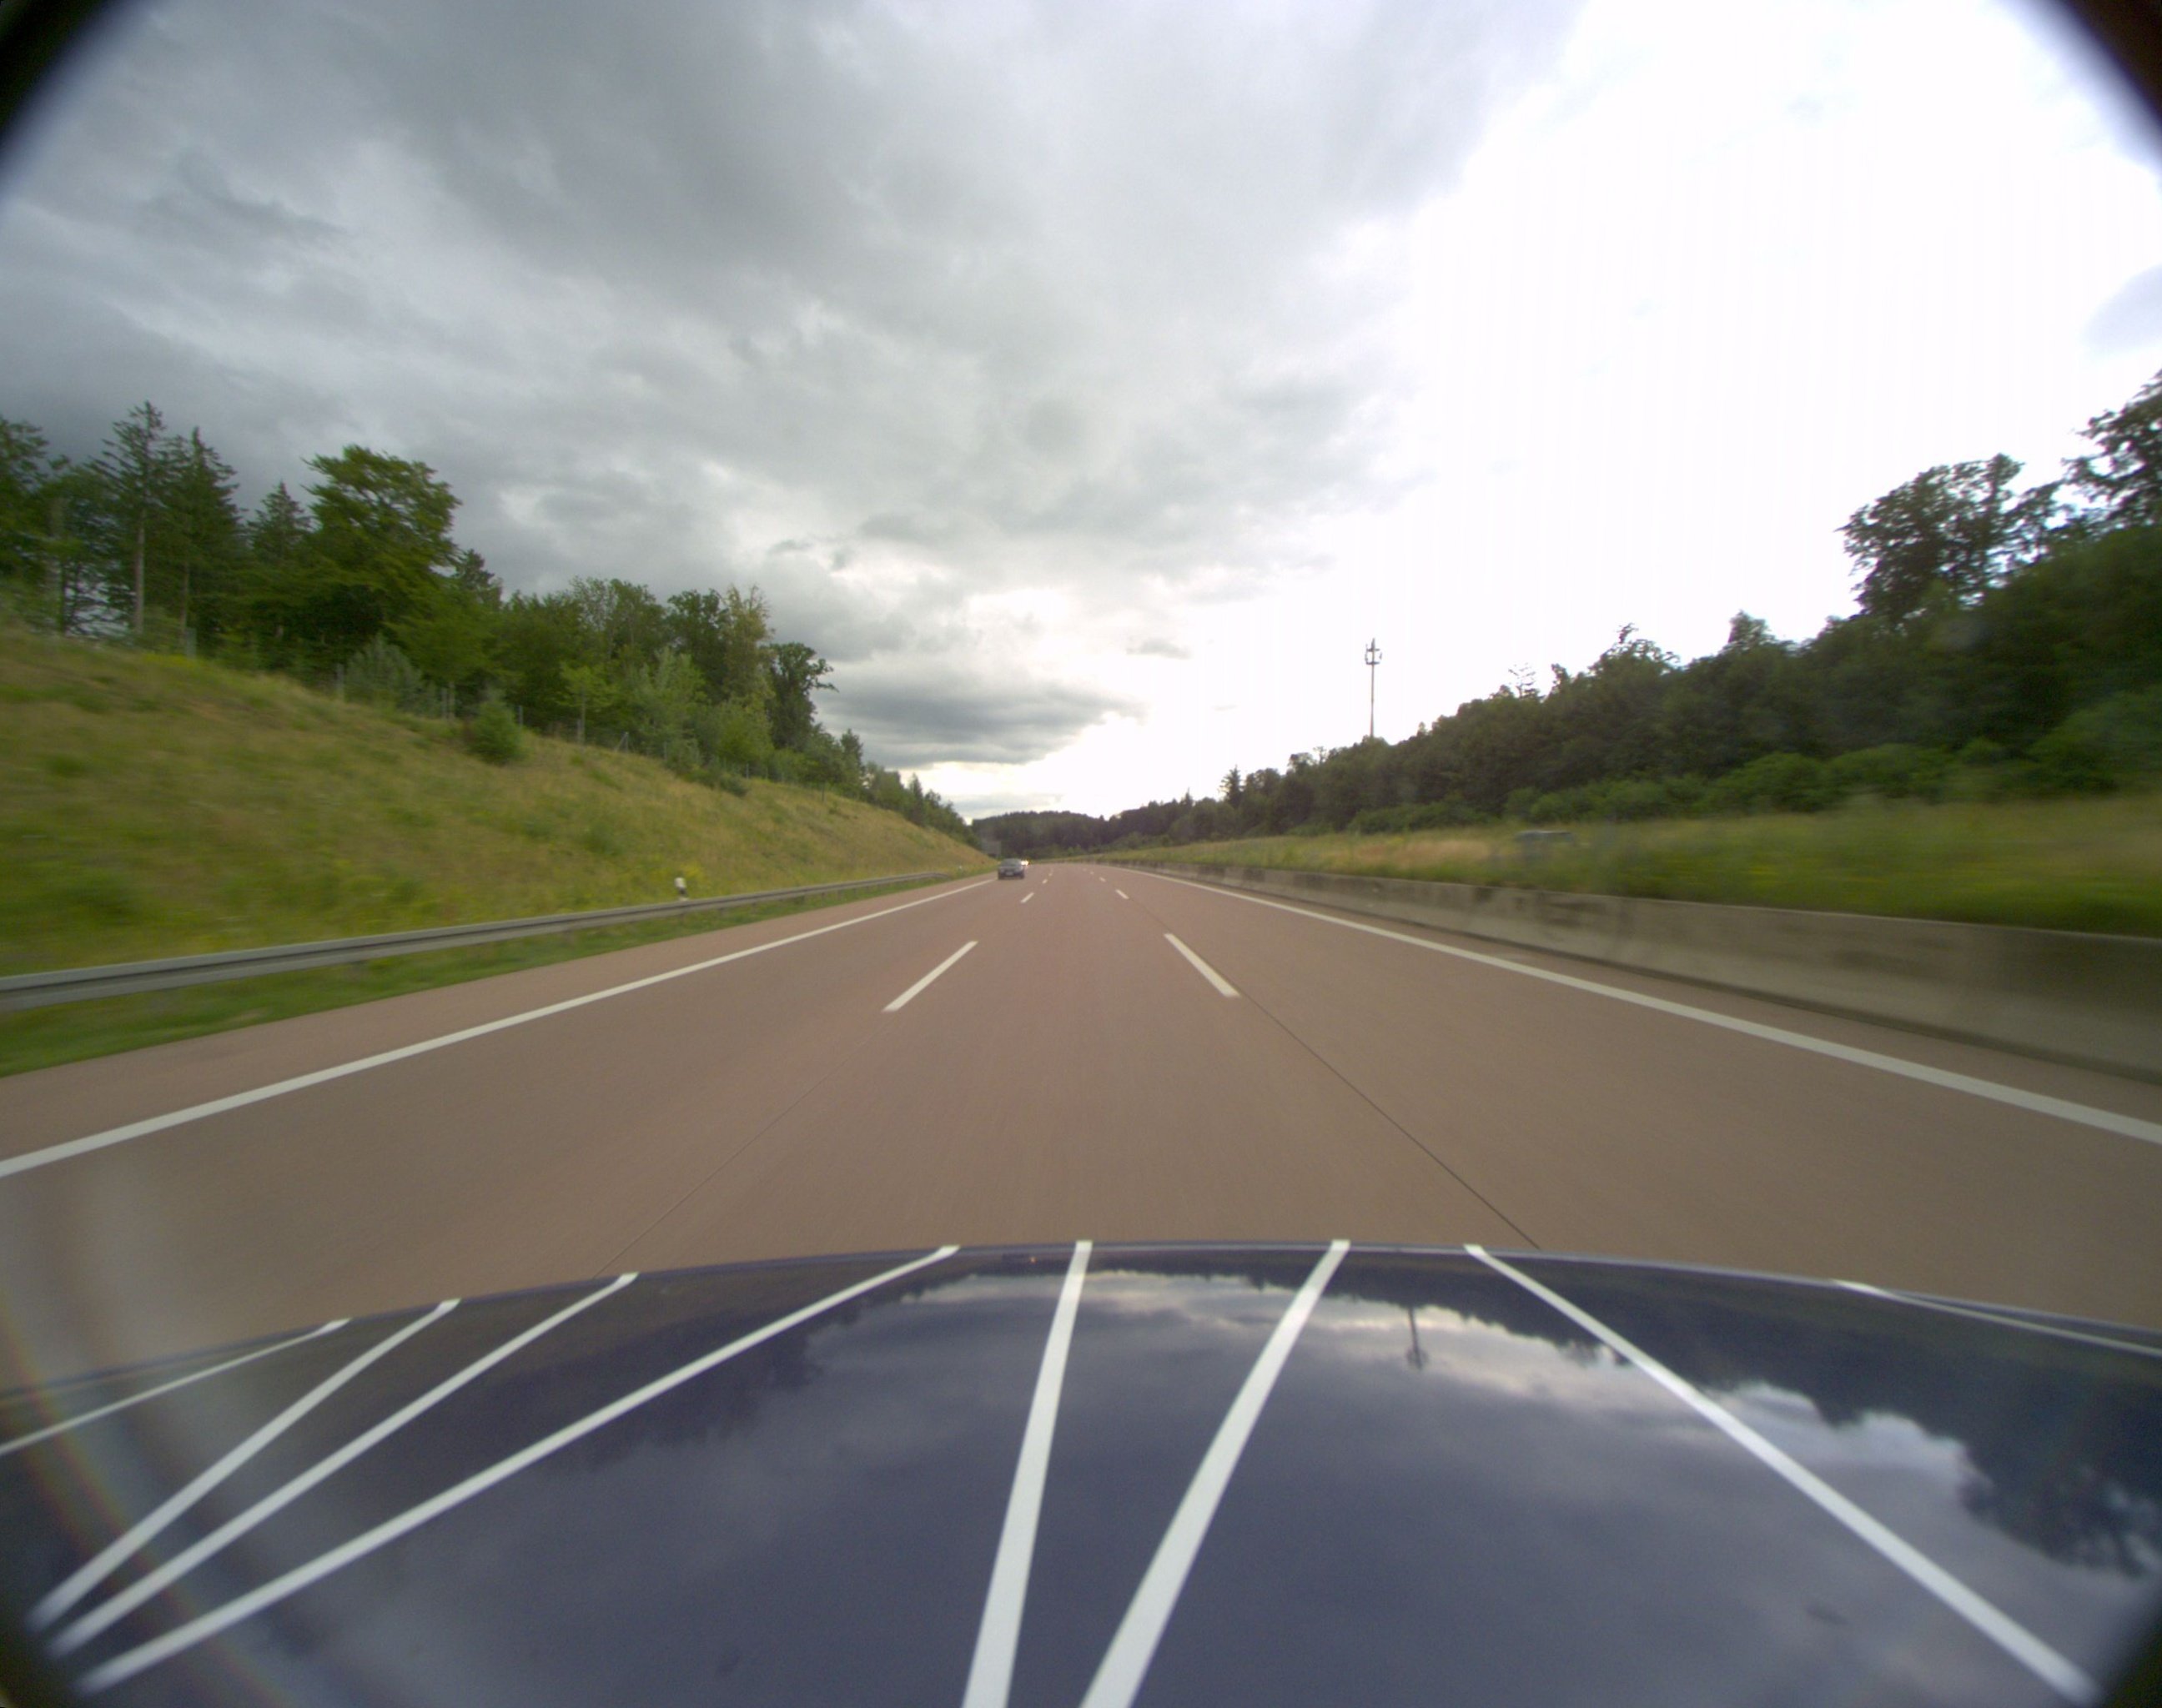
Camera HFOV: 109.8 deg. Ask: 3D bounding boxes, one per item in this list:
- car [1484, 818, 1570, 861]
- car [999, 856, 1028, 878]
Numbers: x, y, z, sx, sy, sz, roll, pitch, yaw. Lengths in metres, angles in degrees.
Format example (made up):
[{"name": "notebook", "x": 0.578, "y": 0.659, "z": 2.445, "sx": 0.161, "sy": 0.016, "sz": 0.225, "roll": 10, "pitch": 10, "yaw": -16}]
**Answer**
[{"name": "car", "x": 20.469, "y": -0.663, "z": 35.045, "sx": 1.672, "sy": 1.810, "sz": 3.806, "roll": -2, "pitch": 2, "yaw": -1}, {"name": "car", "x": -4.782, "y": 0.878, "z": 54.301, "sx": 1.676, "sy": 1.395, "sz": 4.232, "roll": -1, "pitch": 1, "yaw": 0}]
